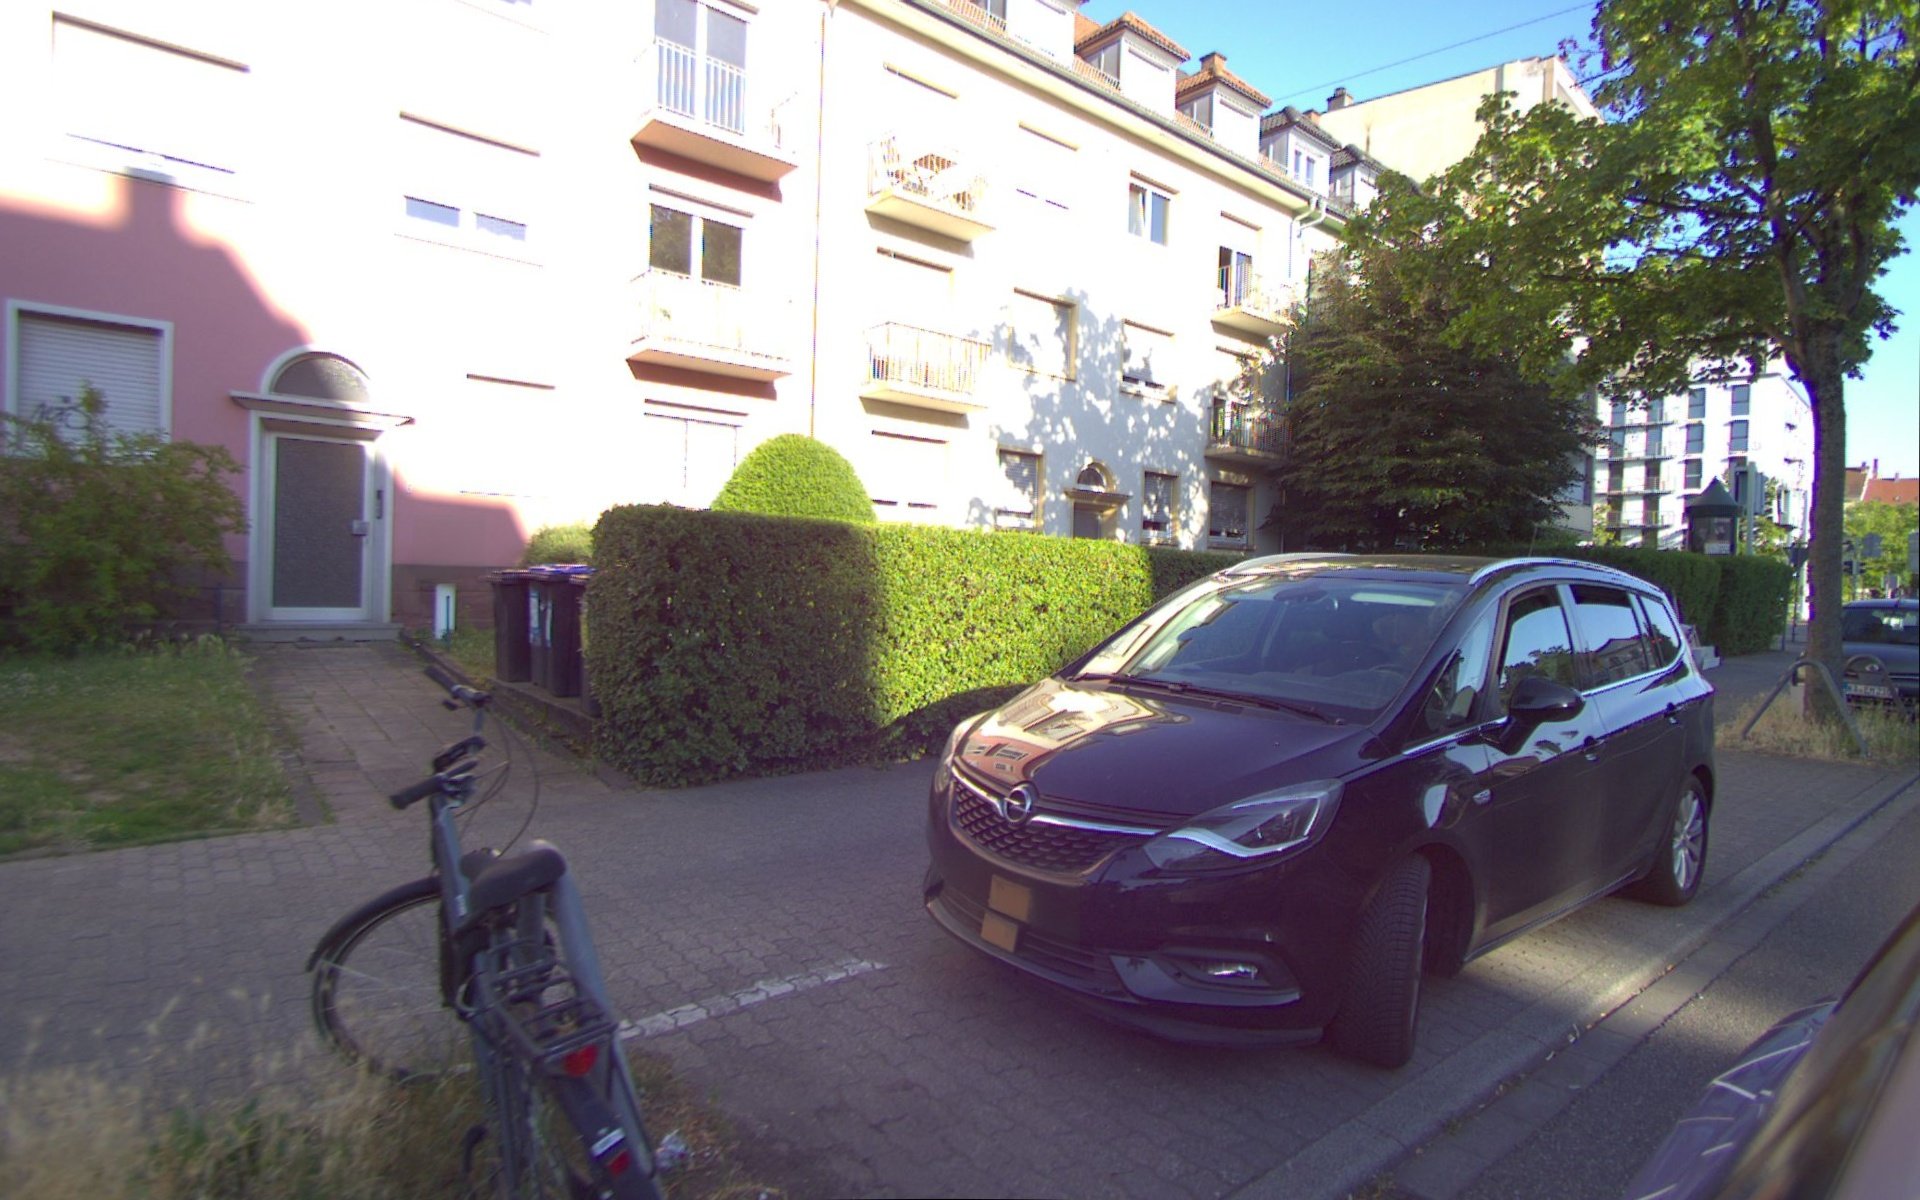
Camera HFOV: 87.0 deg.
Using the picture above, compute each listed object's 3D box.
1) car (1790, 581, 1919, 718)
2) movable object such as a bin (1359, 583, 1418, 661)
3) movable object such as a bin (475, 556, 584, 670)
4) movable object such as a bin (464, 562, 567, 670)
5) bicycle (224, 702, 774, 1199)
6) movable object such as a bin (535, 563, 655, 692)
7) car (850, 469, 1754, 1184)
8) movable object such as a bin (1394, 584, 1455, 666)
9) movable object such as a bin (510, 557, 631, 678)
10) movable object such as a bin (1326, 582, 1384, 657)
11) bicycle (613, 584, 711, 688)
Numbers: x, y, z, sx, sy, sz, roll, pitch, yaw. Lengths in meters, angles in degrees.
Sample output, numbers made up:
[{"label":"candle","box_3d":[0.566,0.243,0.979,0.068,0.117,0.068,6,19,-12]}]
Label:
[{"label":"car","box_3d":[12.381,0.592,13.192,3.581,1.570,1.736,1,1,-40]},{"label":"movable object such as a bin","box_3d":[7.032,0.352,16.598,0.813,1.236,0.554,1,1,-40]},{"label":"movable object such as a bin","box_3d":[-4.049,0.106,9.514,0.782,1.015,0.612,1,1,-40]},{"label":"movable object such as a bin","box_3d":[-4.424,0.144,10.071,0.782,1.015,0.612,1,1,-40]},{"label":"bicycle","box_3d":[-1.047,0.838,2.117,1.474,1.072,0.406,3,1,38]},{"label":"movable object such as a bin","box_3d":[-3.064,0.211,8.498,0.782,1.015,0.583,1,1,-40]},{"label":"car","box_3d":[1.782,0.519,4.387,4.214,1.671,1.736,1,1,-40]},{"label":"movable object such as a bin","box_3d":[7.382,0.383,16.092,0.813,1.255,0.554,1,1,-40]},{"label":"movable object such as a bin","box_3d":[-3.486,0.134,9.046,0.782,1.015,0.778,1,1,-40]},{"label":"movable object such as a bin","box_3d":[6.663,0.320,17.078,0.813,1.217,0.554,1,1,-40]},{"label":"bicycle","box_3d":[-2.779,0.304,9.355,0.358,0.864,1.363,1,1,-39]}]
